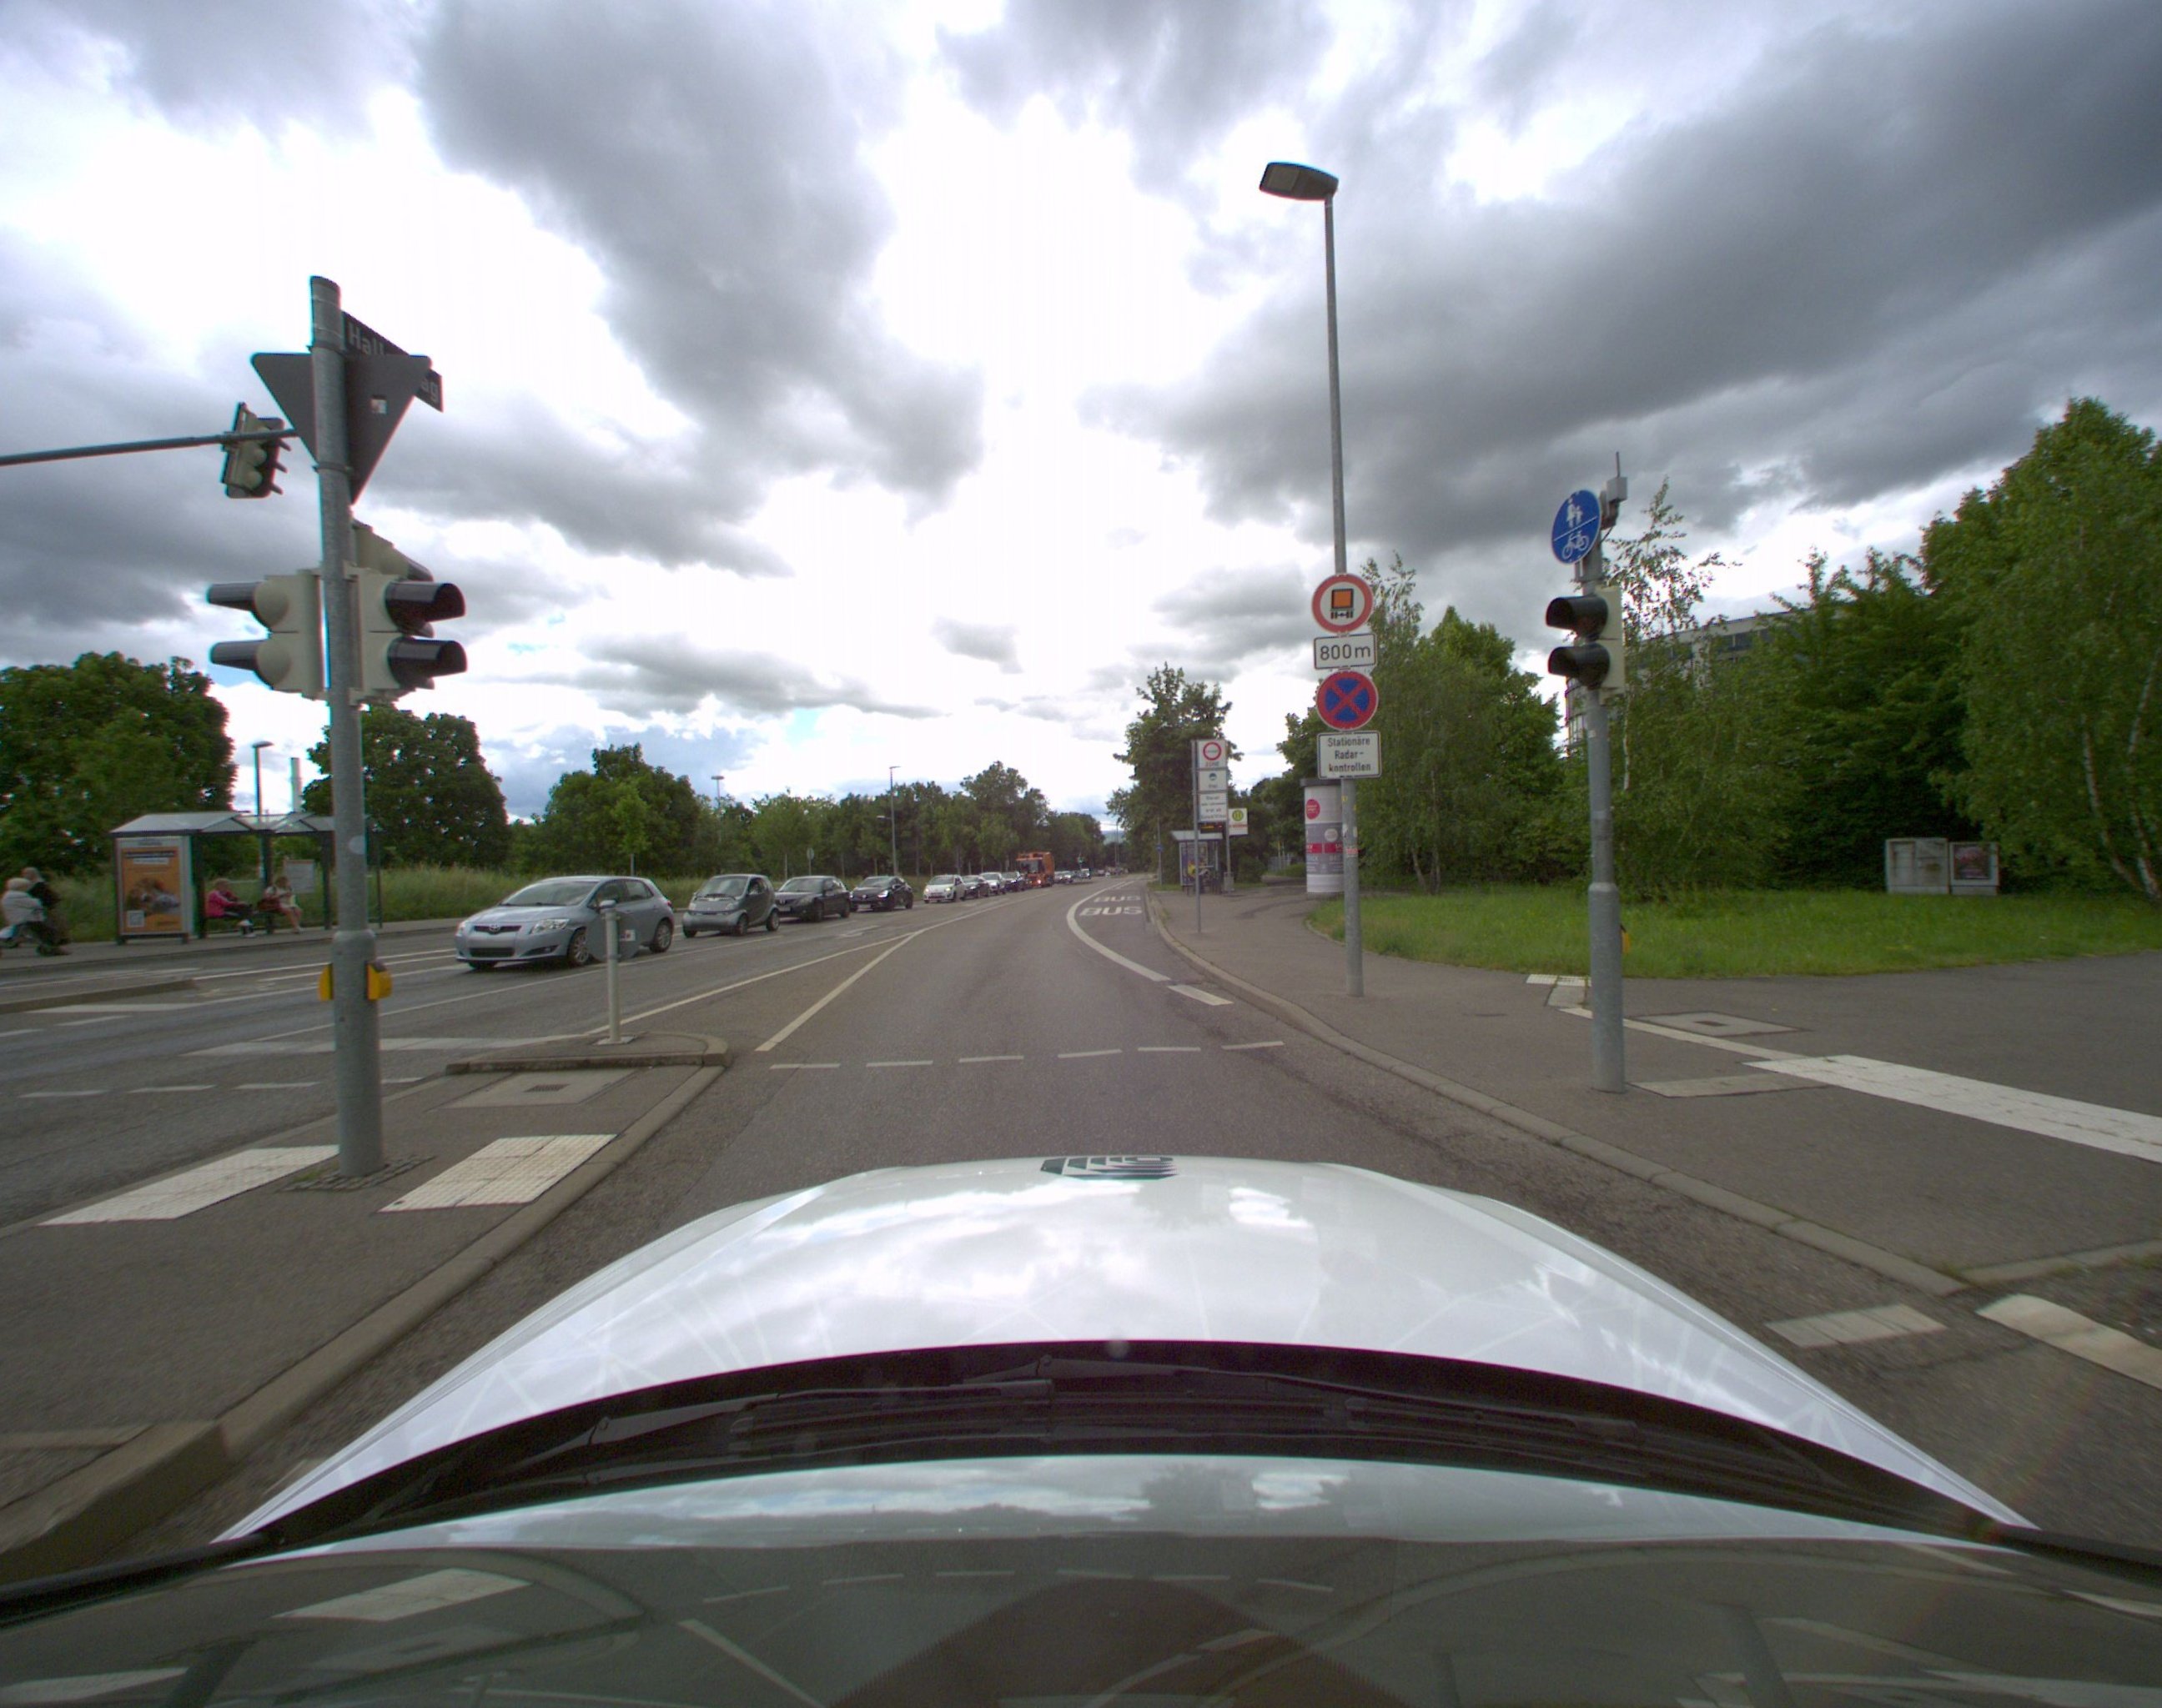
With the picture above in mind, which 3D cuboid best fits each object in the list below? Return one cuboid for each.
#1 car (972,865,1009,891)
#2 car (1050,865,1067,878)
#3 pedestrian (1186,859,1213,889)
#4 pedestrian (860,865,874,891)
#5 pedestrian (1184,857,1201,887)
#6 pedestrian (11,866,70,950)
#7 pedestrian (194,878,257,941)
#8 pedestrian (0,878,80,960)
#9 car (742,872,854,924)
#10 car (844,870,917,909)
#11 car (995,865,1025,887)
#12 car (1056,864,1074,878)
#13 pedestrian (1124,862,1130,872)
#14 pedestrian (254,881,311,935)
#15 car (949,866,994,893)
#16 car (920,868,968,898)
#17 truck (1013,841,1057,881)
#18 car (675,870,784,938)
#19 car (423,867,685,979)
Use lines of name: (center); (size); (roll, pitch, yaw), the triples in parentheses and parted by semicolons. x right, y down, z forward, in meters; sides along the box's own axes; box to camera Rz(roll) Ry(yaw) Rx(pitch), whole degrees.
car: (-6.214, 1.630, 56.465); (1.722, 1.585, 4.229); (-2, 0, 4)
car: (-2.651, 2.061, 96.924); (1.540, 1.331, 3.658); (-5, 0, 4)
pedestrian: (5.140, 0.875, 35.347); (0.779, 1.252, 0.764); (-2, 0, -37)
pedestrian: (-15.350, 1.708, 58.374); (0.717, 1.835, 0.678); (-3, 0, 5)
pedestrian: (5.077, 0.824, 36.978); (0.724, 1.316, 0.590); (-2, 0, 6)
pedestrian: (-21.438, 1.092, 16.783); (0.543, 1.669, 0.642); (-2, 0, 32)
pedestrian: (-19.271, 1.241, 18.351); (0.770, 1.330, 0.550); (-2, 0, -4)
pedestrian: (-18.488, 1.133, 14.405); (0.548, 1.363, 0.773); (-2, 0, -3)
car: (-8.981, 1.342, 26.266); (1.792, 1.332, 4.384); (-3, 0, 3)
car: (-8.100, 1.396, 33.190); (1.632, 1.332, 4.066); (-3, 0, 4)
car: (-5.568, 1.712, 64.102); (1.632, 1.585, 4.066); (-2, 0, 4)
car: (-2.056, 2.196, 104.910); (1.838, 1.520, 4.820); (-5, 0, 4)
pedestrian: (7.365, 2.043, 129.776); (0.790, 1.463, 0.745); (-3, 0, -14)
pedestrian: (-19.210, 1.288, 19.595); (0.770, 1.227, 0.550); (-2, 0, -4)
car: (-6.591, 1.489, 49.552); (1.632, 1.390, 4.891); (-2, 0, 4)
car: (-7.280, 1.519, 43.625); (1.632, 1.390, 3.767); (-2, 0, 4)
truck: (-4.302, 0.586, 78.953); (2.693, 3.487, 10.010); (-2, 0, 5)
car: (-8.936, 1.227, 20.923); (1.422, 1.526, 2.777); (-2, 0, 2)
car: (-9.049, 1.089, 14.517); (1.821, 1.535, 4.220); (-3, 0, 1)
